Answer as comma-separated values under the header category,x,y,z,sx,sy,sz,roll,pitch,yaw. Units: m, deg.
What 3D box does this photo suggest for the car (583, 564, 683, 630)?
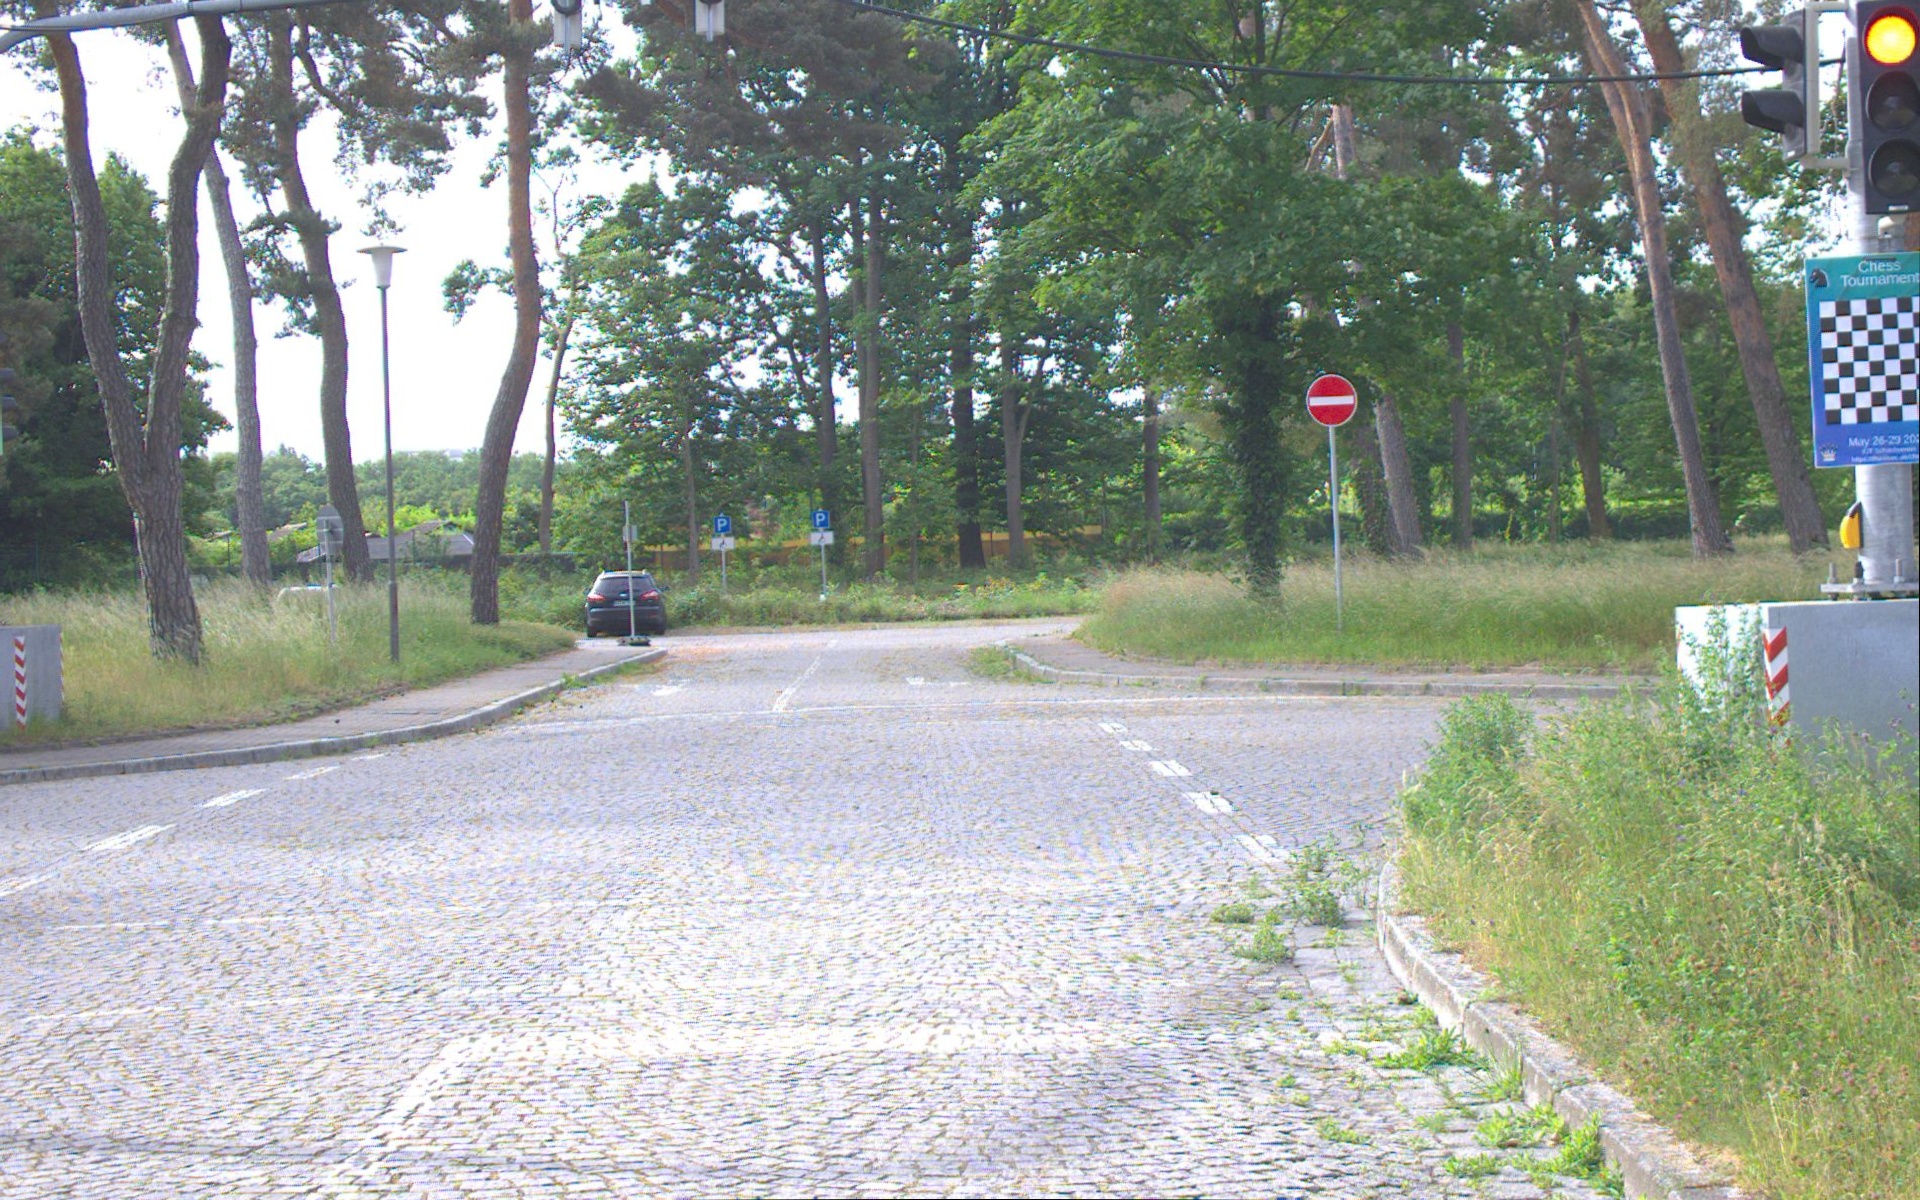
category,x,y,z,sx,sy,sz,roll,pitch,yaw
car,-7.741,-0.084,81.601,1.993,1.503,4.000,0,1,0

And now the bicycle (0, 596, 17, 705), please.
category,x,y,z,sx,sy,sz,roll,pitch,yaw
bicycle,-9.500,0.487,31.703,1.459,0.993,0.452,-2,1,-7

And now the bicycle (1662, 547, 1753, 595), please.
category,x,y,z,sx,sy,sz,roll,pitch,yaw
bicycle,18.346,-0.709,84.400,1.986,1.091,0.810,-2,1,-4

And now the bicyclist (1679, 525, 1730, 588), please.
category,x,y,z,sx,sy,sz,roll,pitch,yaw
bicyclist,18.276,-1.071,84.379,0.974,1.505,0.807,-2,1,-4
